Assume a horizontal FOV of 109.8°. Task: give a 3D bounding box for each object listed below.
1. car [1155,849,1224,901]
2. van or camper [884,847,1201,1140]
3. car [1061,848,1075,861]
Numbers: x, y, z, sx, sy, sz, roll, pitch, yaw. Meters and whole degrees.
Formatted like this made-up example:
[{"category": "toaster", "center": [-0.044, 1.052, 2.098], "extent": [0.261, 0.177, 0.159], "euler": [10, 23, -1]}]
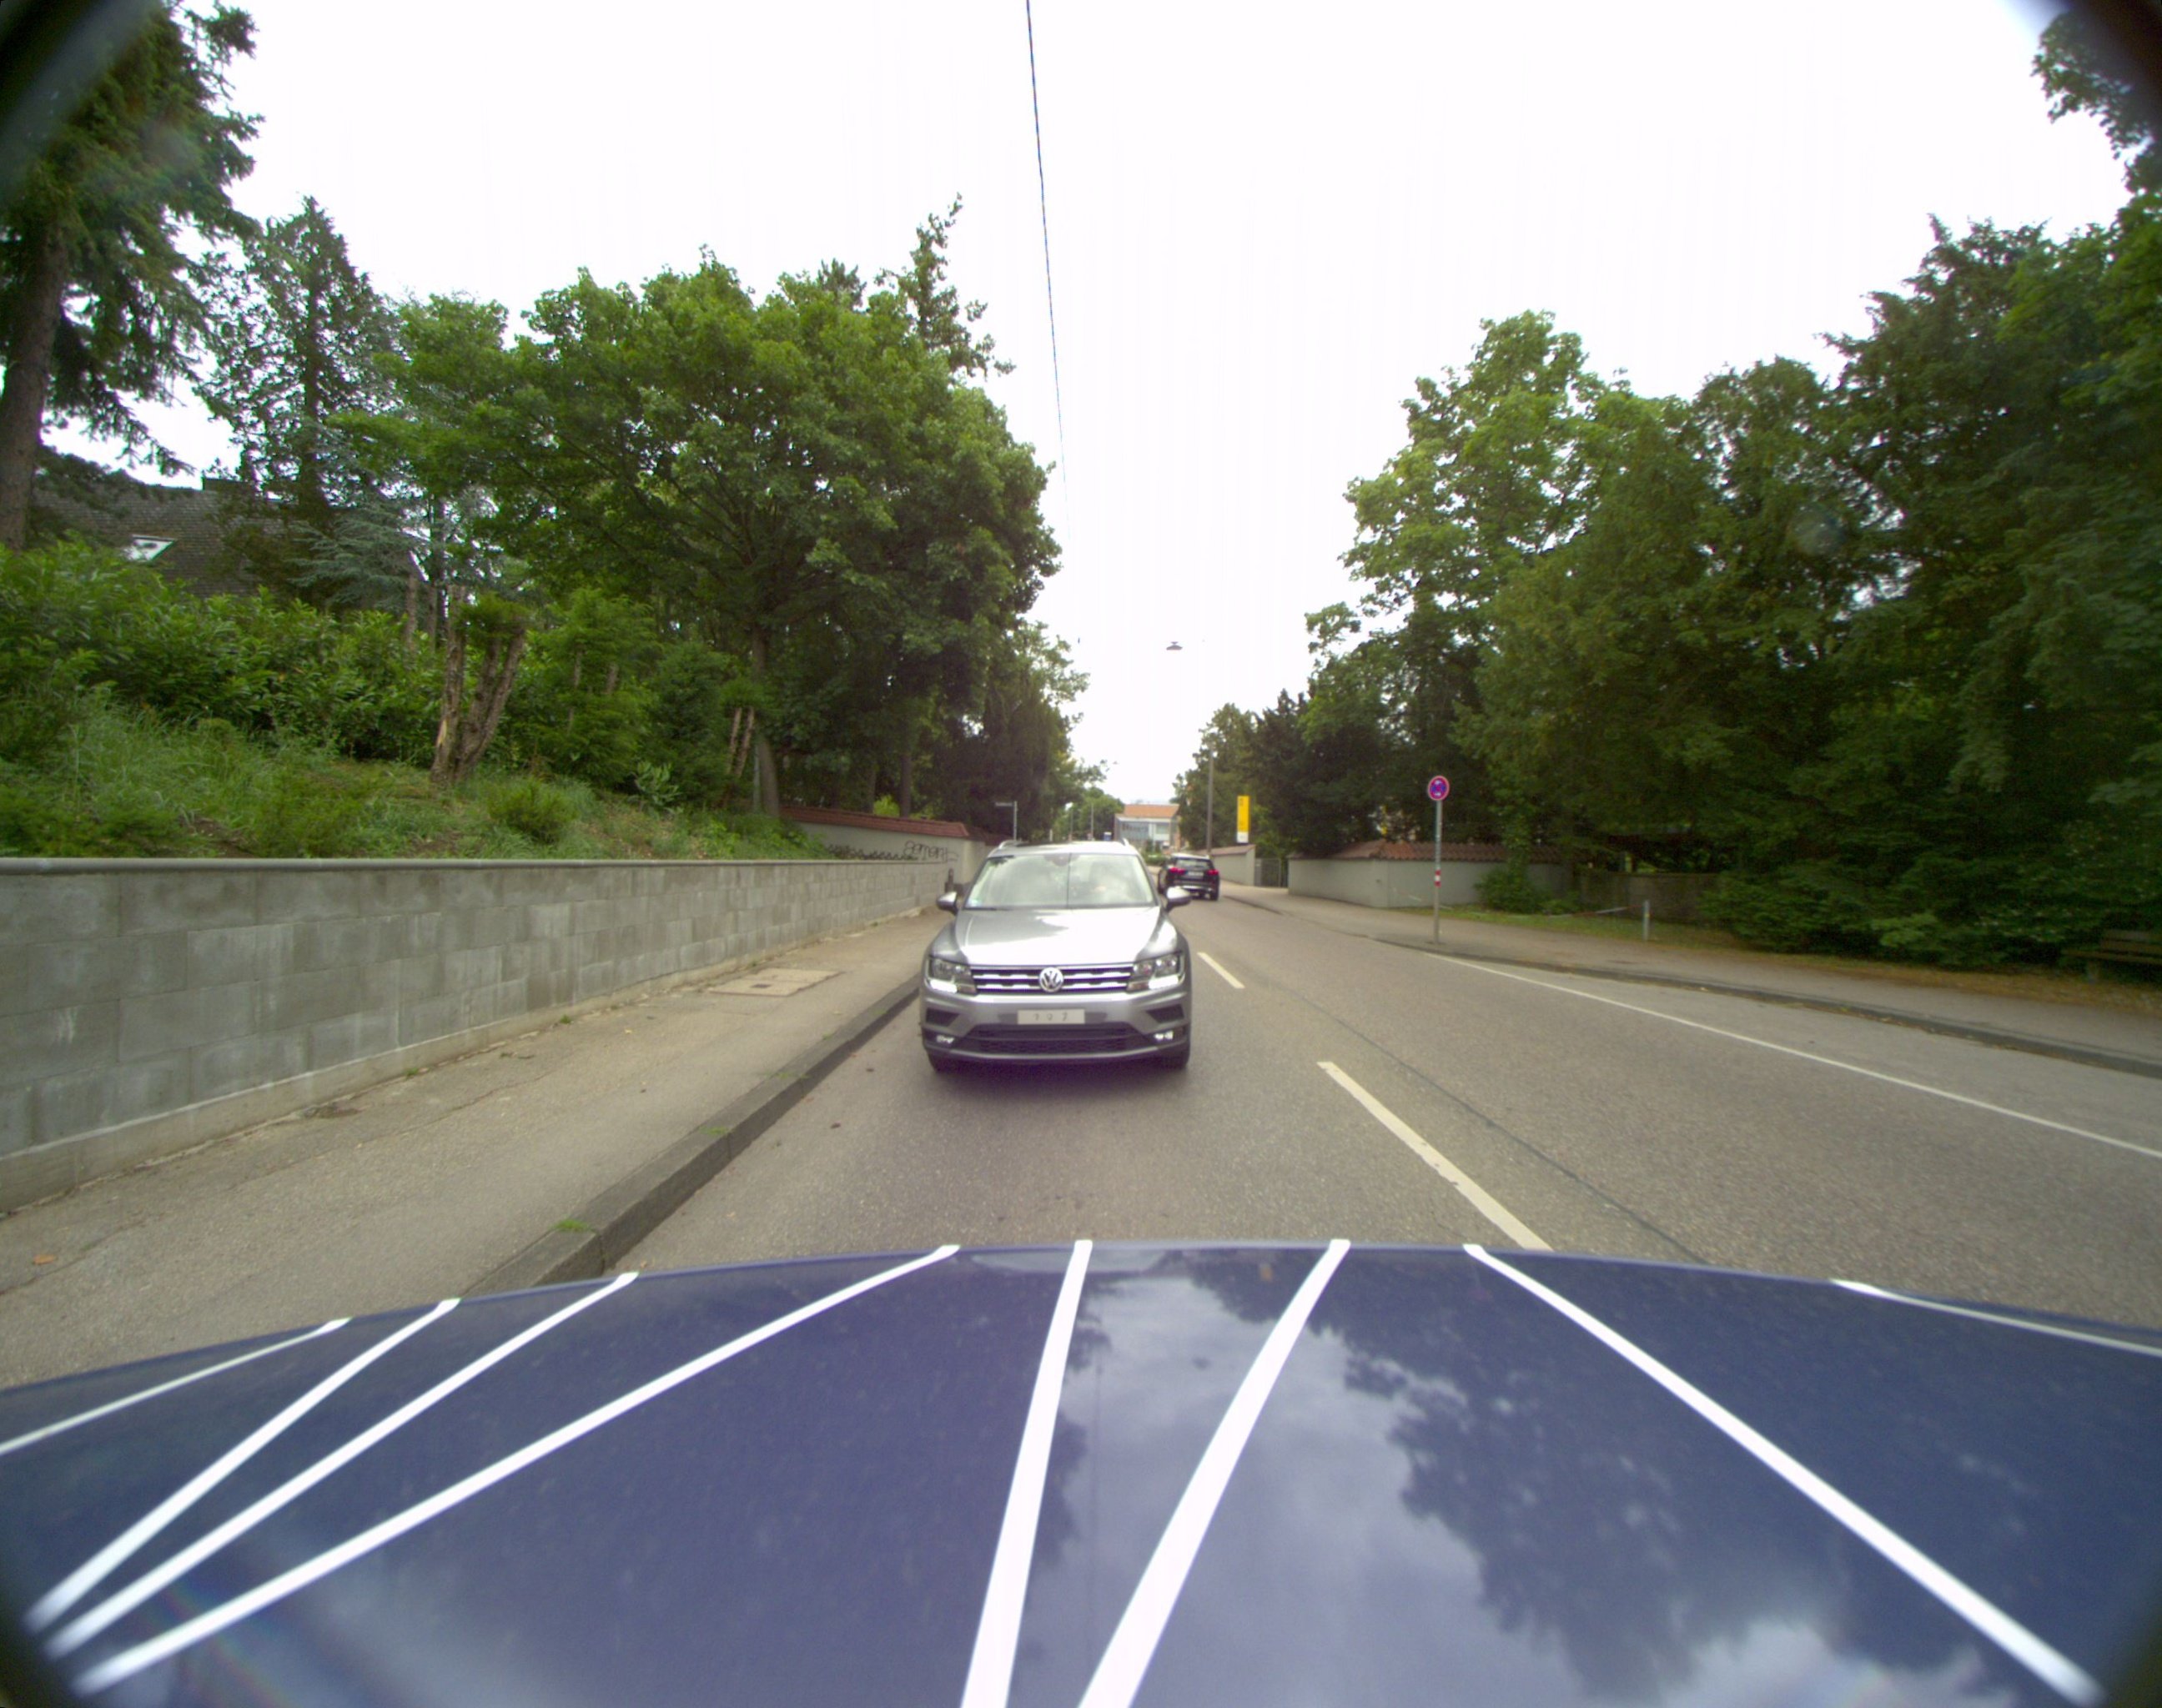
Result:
[{"category": "car", "center": [3.849, 0.708, 27.614], "extent": [1.864, 1.648, 4.306], "euler": [3, 0, 1]}, {"category": "van or camper", "center": [-0.195, 0.786, 6.436], "extent": [1.800, 1.663, 4.198], "euler": [0, 0, 1]}, {"category": "car", "center": [-1.742, 0.111, 102.866], "extent": [1.789, 1.644, 4.120], "euler": [3, 0, 1]}]
